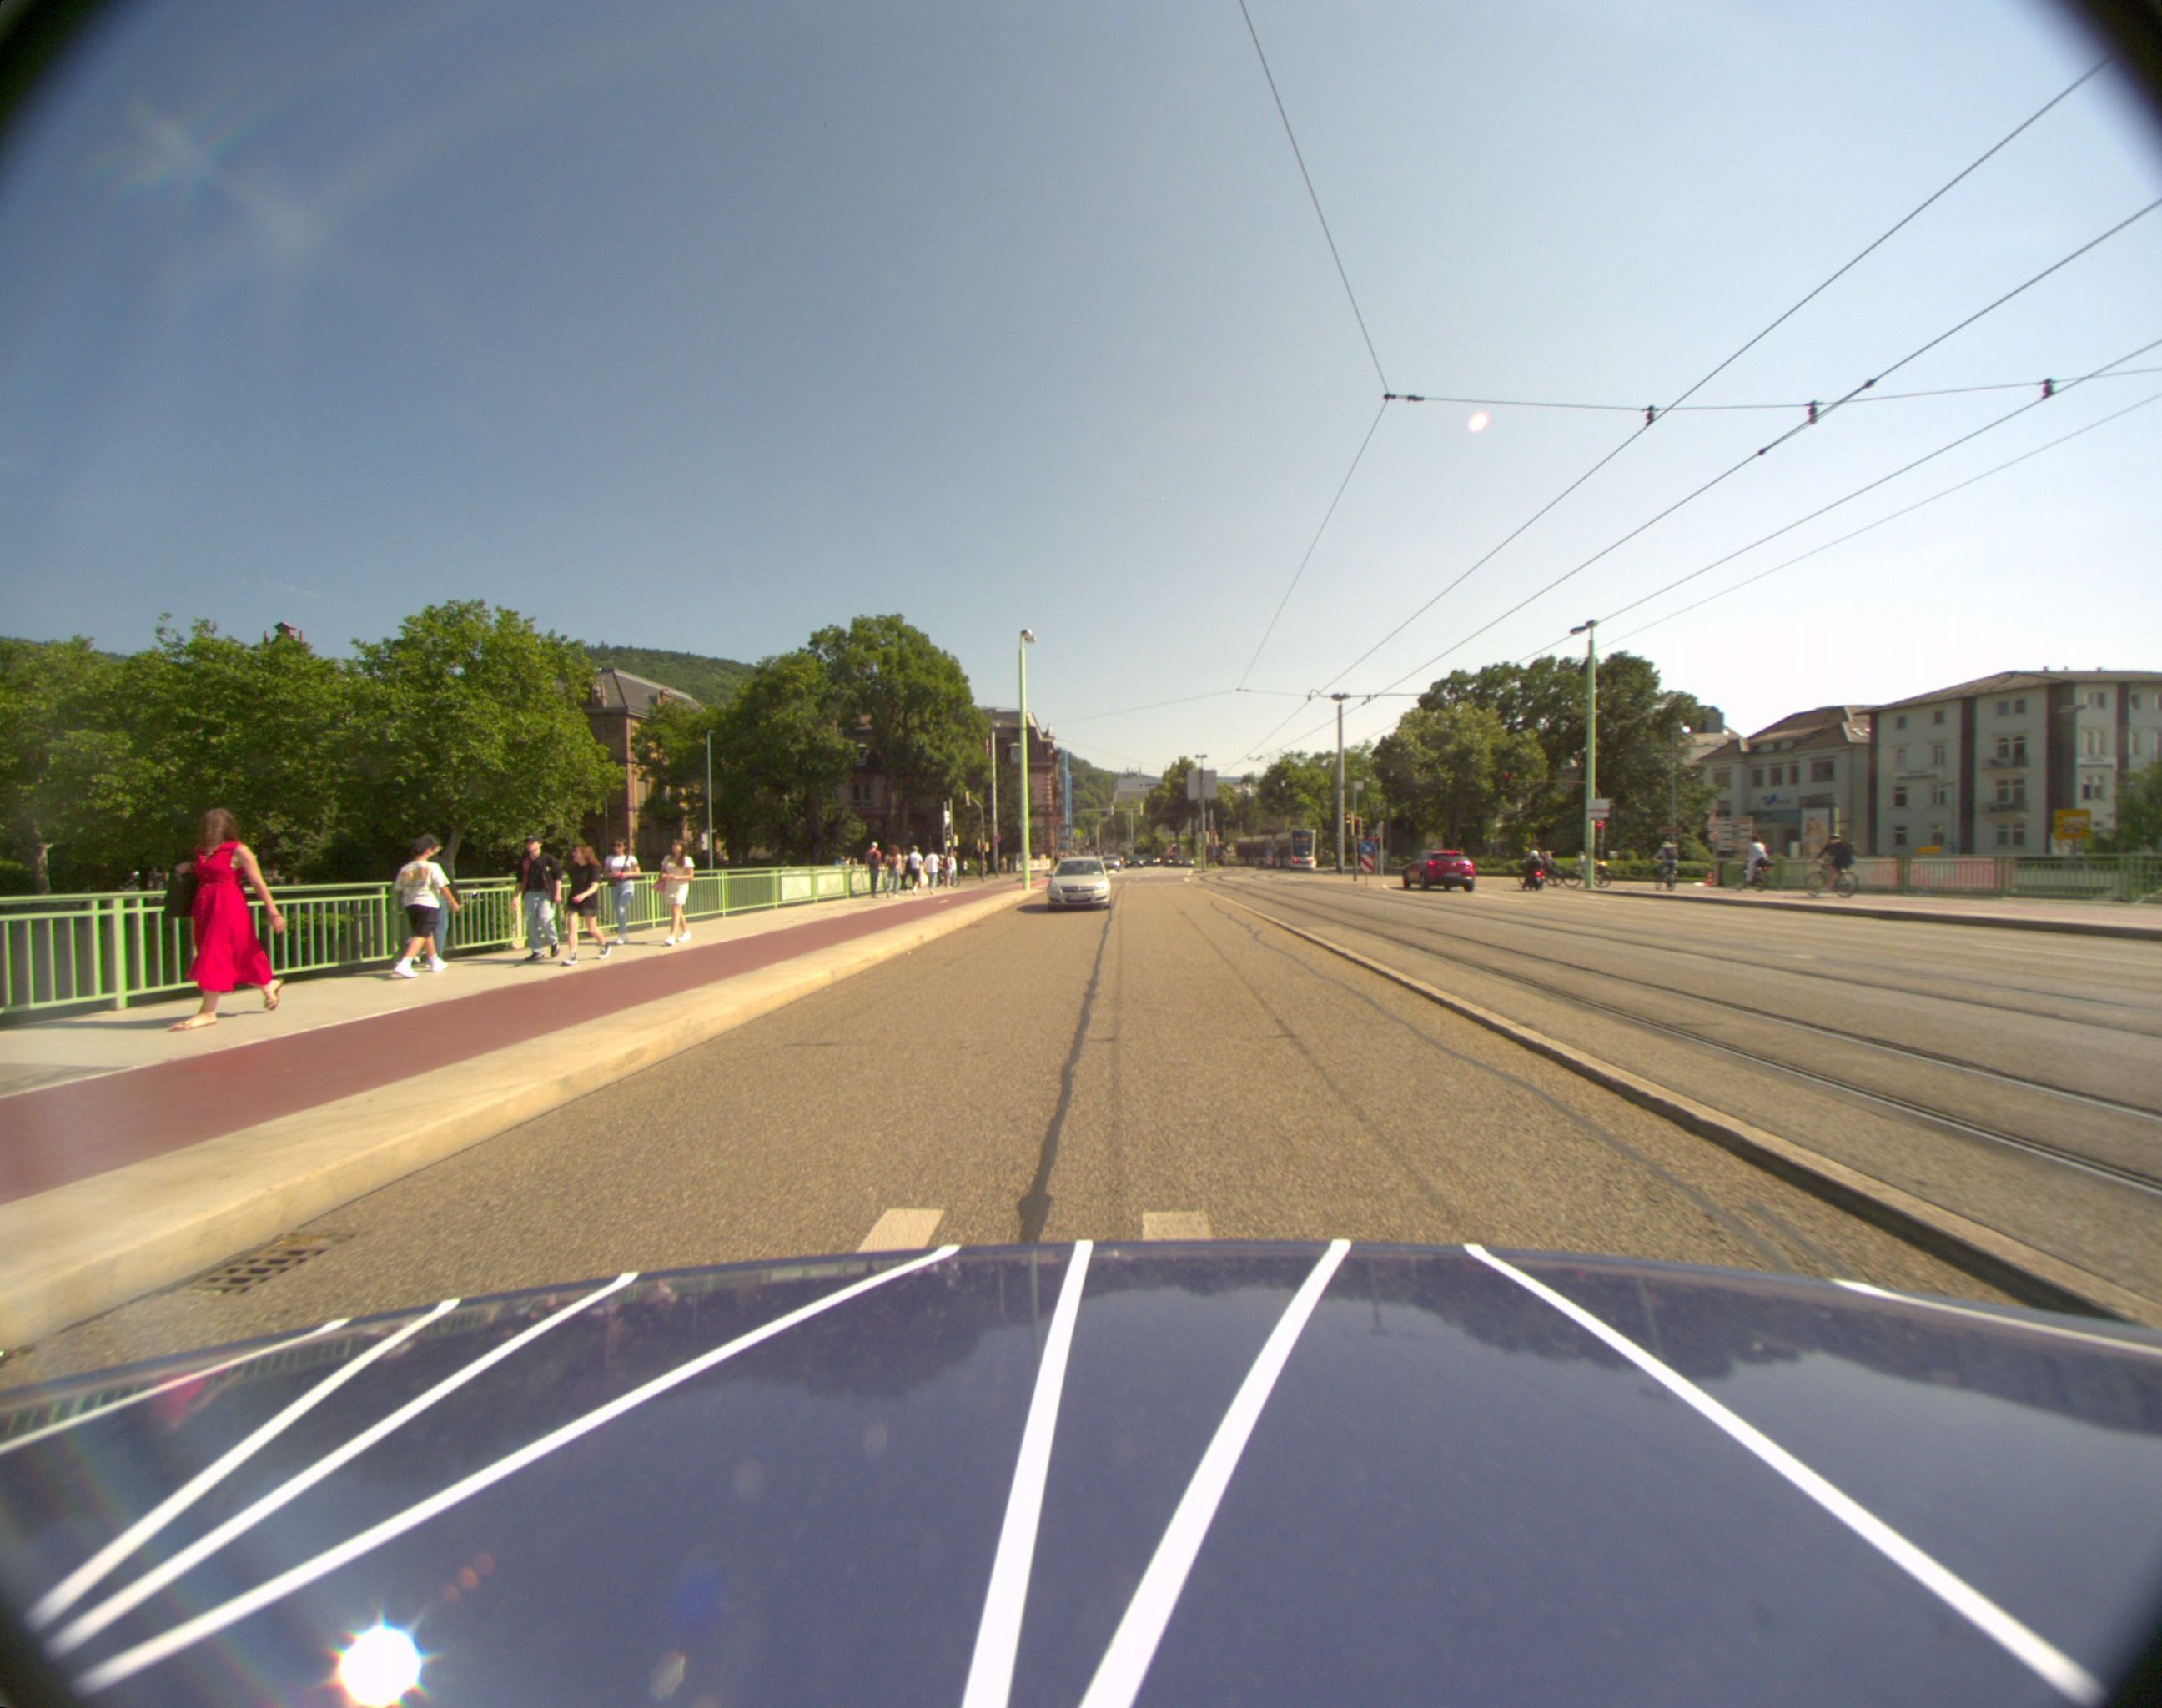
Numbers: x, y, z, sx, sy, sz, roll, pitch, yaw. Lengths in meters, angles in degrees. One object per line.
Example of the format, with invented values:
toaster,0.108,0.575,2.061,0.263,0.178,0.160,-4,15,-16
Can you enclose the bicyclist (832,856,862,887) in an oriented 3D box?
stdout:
bicyclist,-11.583,0.853,37.638,1.081,1.465,0.929,-2,0,12

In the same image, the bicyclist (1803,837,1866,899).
bicyclist,19.985,0.351,20.171,0.879,1.600,0.772,-1,1,3

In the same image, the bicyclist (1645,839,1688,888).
bicyclist,19.683,0.317,25.555,0.879,1.599,0.772,1,0,6

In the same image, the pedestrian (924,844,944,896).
pedestrian,-5.221,0.562,26.988,0.550,1.789,0.645,-1,1,-2

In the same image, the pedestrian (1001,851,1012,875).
pedestrian,-6.118,0.715,62.349,0.777,2.002,1.059,0,1,-1

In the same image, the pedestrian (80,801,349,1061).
pedestrian,-6.927,0.575,6.149,1.017,1.942,0.939,-1,1,1

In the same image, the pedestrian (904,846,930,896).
pedestrian,-5.707,0.587,26.474,0.697,1.707,0.731,-1,1,-2

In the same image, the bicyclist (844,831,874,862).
bicyclist,-10.783,-0.350,36.958,1.082,1.465,0.928,-2,0,8

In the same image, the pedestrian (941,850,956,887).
pedestrian,-6.377,0.714,36.578,0.535,1.750,0.577,-1,0,7

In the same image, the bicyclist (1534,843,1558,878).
bicyclist,21.456,0.280,35.084,0.877,1.600,0.773,0,2,27

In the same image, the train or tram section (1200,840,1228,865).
train or tram section,18.978,-0.239,108.411,2.767,3.384,5.885,0,0,-2

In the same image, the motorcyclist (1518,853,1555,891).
motorcyclist,17.526,0.674,29.251,0.847,1.394,0.898,-2,1,1

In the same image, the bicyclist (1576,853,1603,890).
bicyclist,22.341,0.756,33.380,0.881,1.600,0.769,-2,2,-43

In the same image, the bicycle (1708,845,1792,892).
bicycle,21.378,0.433,24.350,0.706,1.391,2.163,-5,0,1

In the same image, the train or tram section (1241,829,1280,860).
train or tram section,22.814,-1.188,96.907,2.544,3.755,9.167,-1,1,-1

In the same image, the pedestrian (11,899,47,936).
pedestrian,-51.324,3.094,37.087,0.742,1.765,0.677,-2,0,-2

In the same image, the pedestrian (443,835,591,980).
pedestrian,-7.233,0.645,9.834,0.987,1.759,1.254,0,1,-2

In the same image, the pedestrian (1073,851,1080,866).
pedestrian,-0.523,0.522,86.398,0.707,1.743,0.902,0,2,-3

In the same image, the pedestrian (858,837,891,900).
pedestrian,-6.686,0.452,24.671,0.805,2.002,0.954,-1,1,-2

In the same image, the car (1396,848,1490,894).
car,13.627,0.581,28.871,1.997,1.506,4.191,1,1,8

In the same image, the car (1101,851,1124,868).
car,2.952,0.510,72.467,1.998,1.564,4.000,-2,0,0

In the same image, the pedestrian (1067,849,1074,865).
pedestrian,-1.159,0.319,85.281,0.707,1.759,0.903,-1,1,-3

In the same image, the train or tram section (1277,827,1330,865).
train or tram section,23.212,-0.776,79.892,2.410,3.659,9.617,0,0,-2

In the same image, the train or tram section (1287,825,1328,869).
train or tram section,21.340,-0.683,71.066,2.472,3.755,11.868,-1,0,22

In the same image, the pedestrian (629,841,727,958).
pedestrian,-6.249,0.675,11.836,0.987,1.740,0.929,-1,1,-2

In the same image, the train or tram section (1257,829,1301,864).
train or tram section,22.853,-0.964,88.043,2.544,3.756,9.165,0,2,-1

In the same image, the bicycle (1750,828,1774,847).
bicycle,40.719,-0.983,45.463,0.759,1.107,1.923,0,1,32

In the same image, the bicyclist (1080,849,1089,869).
bicyclist,0.374,0.503,77.483,0.944,2.002,0.830,0,1,-2

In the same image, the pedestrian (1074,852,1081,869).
pedestrian,-0.386,0.760,86.756,0.636,1.880,0.903,-1,0,-3

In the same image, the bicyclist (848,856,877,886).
bicyclist,-10.900,0.835,37.926,1.081,1.465,0.763,-2,0,24

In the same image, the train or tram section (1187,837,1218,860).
train or tram section,18.743,-0.805,117.825,2.767,3.383,12.410,0,0,-1

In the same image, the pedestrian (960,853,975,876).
pedestrian,-9.126,0.867,61.164,1.060,1.772,0.700,-2,5,-12

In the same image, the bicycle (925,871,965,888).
bicycle,-6.981,1.319,39.071,1.942,0.822,0.565,-2,0,8

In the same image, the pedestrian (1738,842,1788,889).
pedestrian,21.290,0.347,23.736,0.745,1.447,0.899,-1,1,3

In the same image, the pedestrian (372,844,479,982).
pedestrian,-7.996,0.697,9.289,0.651,1.622,0.692,-1,1,4

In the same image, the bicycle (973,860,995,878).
bicycle,-7.865,1.188,61.773,0.801,1.199,2.276,2,5,20

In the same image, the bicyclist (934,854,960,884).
bicyclist,-6.888,0.761,39.127,1.082,1.465,0.801,-2,0,8

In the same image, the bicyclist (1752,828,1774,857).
bicyclist,40.780,-0.685,45.437,0.877,1.665,0.773,0,2,32

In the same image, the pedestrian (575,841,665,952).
pedestrian,-7.178,0.635,11.881,0.836,1.667,0.885,-1,1,-2

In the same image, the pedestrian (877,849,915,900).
pedestrian,-5.977,0.649,24.601,0.987,1.606,0.921,-1,1,-2

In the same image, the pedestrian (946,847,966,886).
pedestrian,-6.099,0.608,37.162,0.775,1.844,0.645,-1,0,7

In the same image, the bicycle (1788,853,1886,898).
bicycle,19.983,0.535,20.160,0.760,1.107,1.920,-1,1,4

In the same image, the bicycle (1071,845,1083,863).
bicycle,-0.257,0.014,47.548,0.643,1.076,2.496,0,0,1

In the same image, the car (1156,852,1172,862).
car,10.985,0.396,100.551,1.637,1.301,3.913,0,0,-2

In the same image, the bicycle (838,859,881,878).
bicycle,-10.758,0.698,36.919,1.942,0.822,0.565,-2,0,8

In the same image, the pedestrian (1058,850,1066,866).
pedestrian,-1.964,0.432,79.281,0.814,1.593,0.815,2,1,-2

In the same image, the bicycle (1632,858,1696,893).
bicycle,19.709,0.707,25.749,0.760,1.107,1.921,-3,-1,5

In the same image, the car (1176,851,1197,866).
car,11.370,0.475,82.098,1.752,1.477,4.747,1,0,1

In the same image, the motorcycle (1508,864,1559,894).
motorcycle,17.546,0.953,29.495,0.847,1.019,1.952,-2,1,2

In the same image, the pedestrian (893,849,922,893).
pedestrian,-6.449,0.616,28.284,0.801,1.625,0.949,-1,1,1

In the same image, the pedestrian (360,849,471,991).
pedestrian,-7.546,0.720,8.646,0.651,1.553,0.692,1,1,4

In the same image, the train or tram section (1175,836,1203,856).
train or tram section,18.465,-1.335,130.401,2.767,3.383,12.409,0,0,-1

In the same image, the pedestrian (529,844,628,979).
pedestrian,-6.414,0.703,9.742,0.656,1.640,0.868,-1,1,-2

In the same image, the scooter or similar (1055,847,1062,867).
scooter or similar,-2.282,0.314,76.904,0.694,2.002,1.095,0,1,-2

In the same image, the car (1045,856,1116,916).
car,0.092,0.839,22.029,1.802,1.492,4.498,-2,0,3

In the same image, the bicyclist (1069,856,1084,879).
bicyclist,-0.254,0.853,47.715,0.912,1.385,1.233,-1,1,0

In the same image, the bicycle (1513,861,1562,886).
bicycle,21.144,0.915,35.252,1.915,1.107,0.762,0,1,27

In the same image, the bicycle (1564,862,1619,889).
bicycle,22.387,0.913,33.343,0.763,1.107,1.914,-2,2,-43

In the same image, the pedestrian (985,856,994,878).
pedestrian,-7.378,1.047,61.316,0.675,1.700,0.893,0,1,0

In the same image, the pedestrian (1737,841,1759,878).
pedestrian,32.524,0.253,37.046,0.702,1.782,0.694,-1,1,-40
